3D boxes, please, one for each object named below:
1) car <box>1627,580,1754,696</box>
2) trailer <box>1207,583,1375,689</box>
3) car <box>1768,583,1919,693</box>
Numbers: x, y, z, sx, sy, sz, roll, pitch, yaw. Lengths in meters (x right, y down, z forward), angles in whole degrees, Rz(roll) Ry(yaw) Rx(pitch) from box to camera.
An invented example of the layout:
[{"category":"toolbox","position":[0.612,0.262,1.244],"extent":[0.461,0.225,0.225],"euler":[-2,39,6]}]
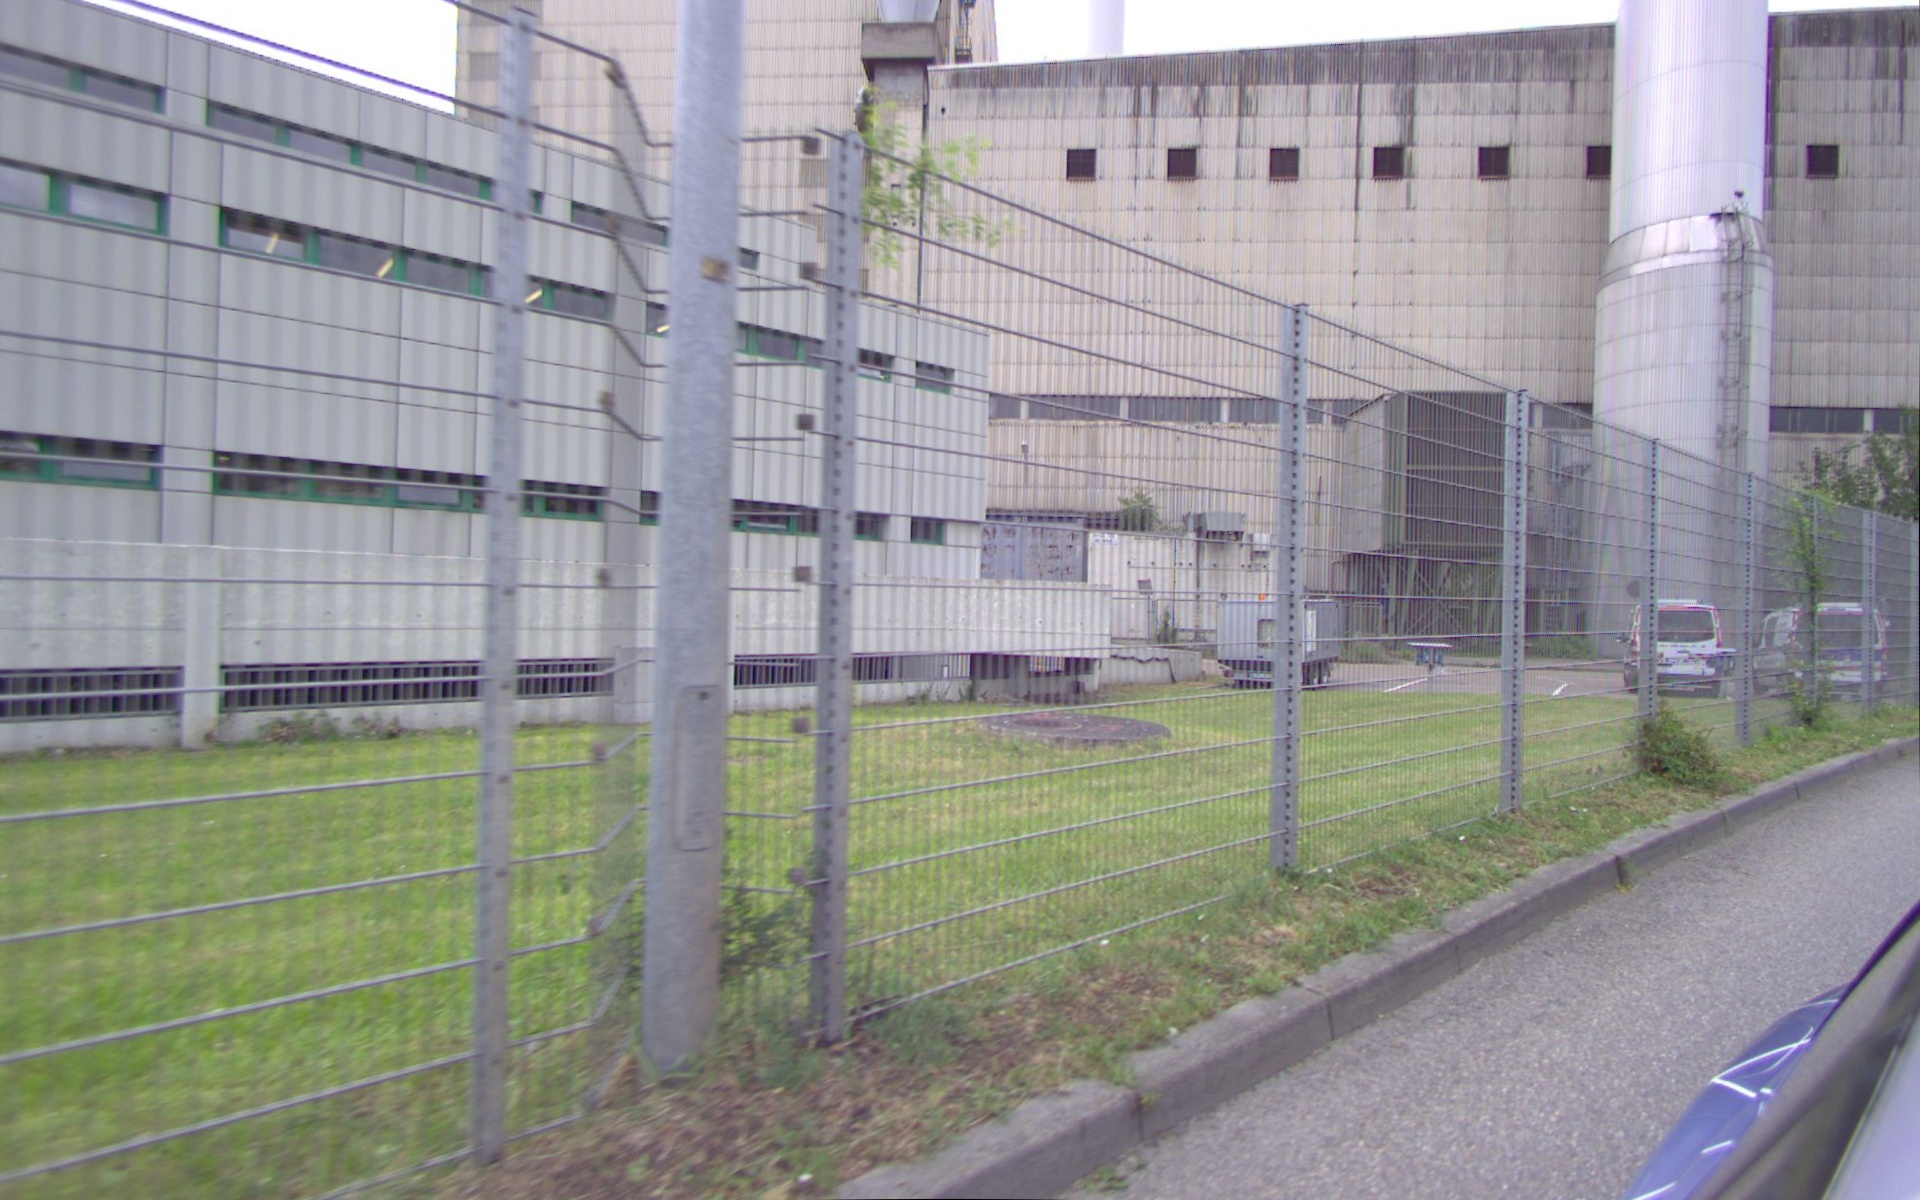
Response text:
[{"category":"car","position":[19.627,1.026,27.458],"extent":[2.409,2.798,5.390],"euler":[0,-2,32]},{"category":"trailer","position":[9.252,0.896,27.808],"extent":[2.648,2.576,6.351],"euler":[0,-1,35]},{"category":"car","position":[22.858,0.990,26.329],"extent":[2.221,2.581,5.130],"euler":[0,-2,32]}]
